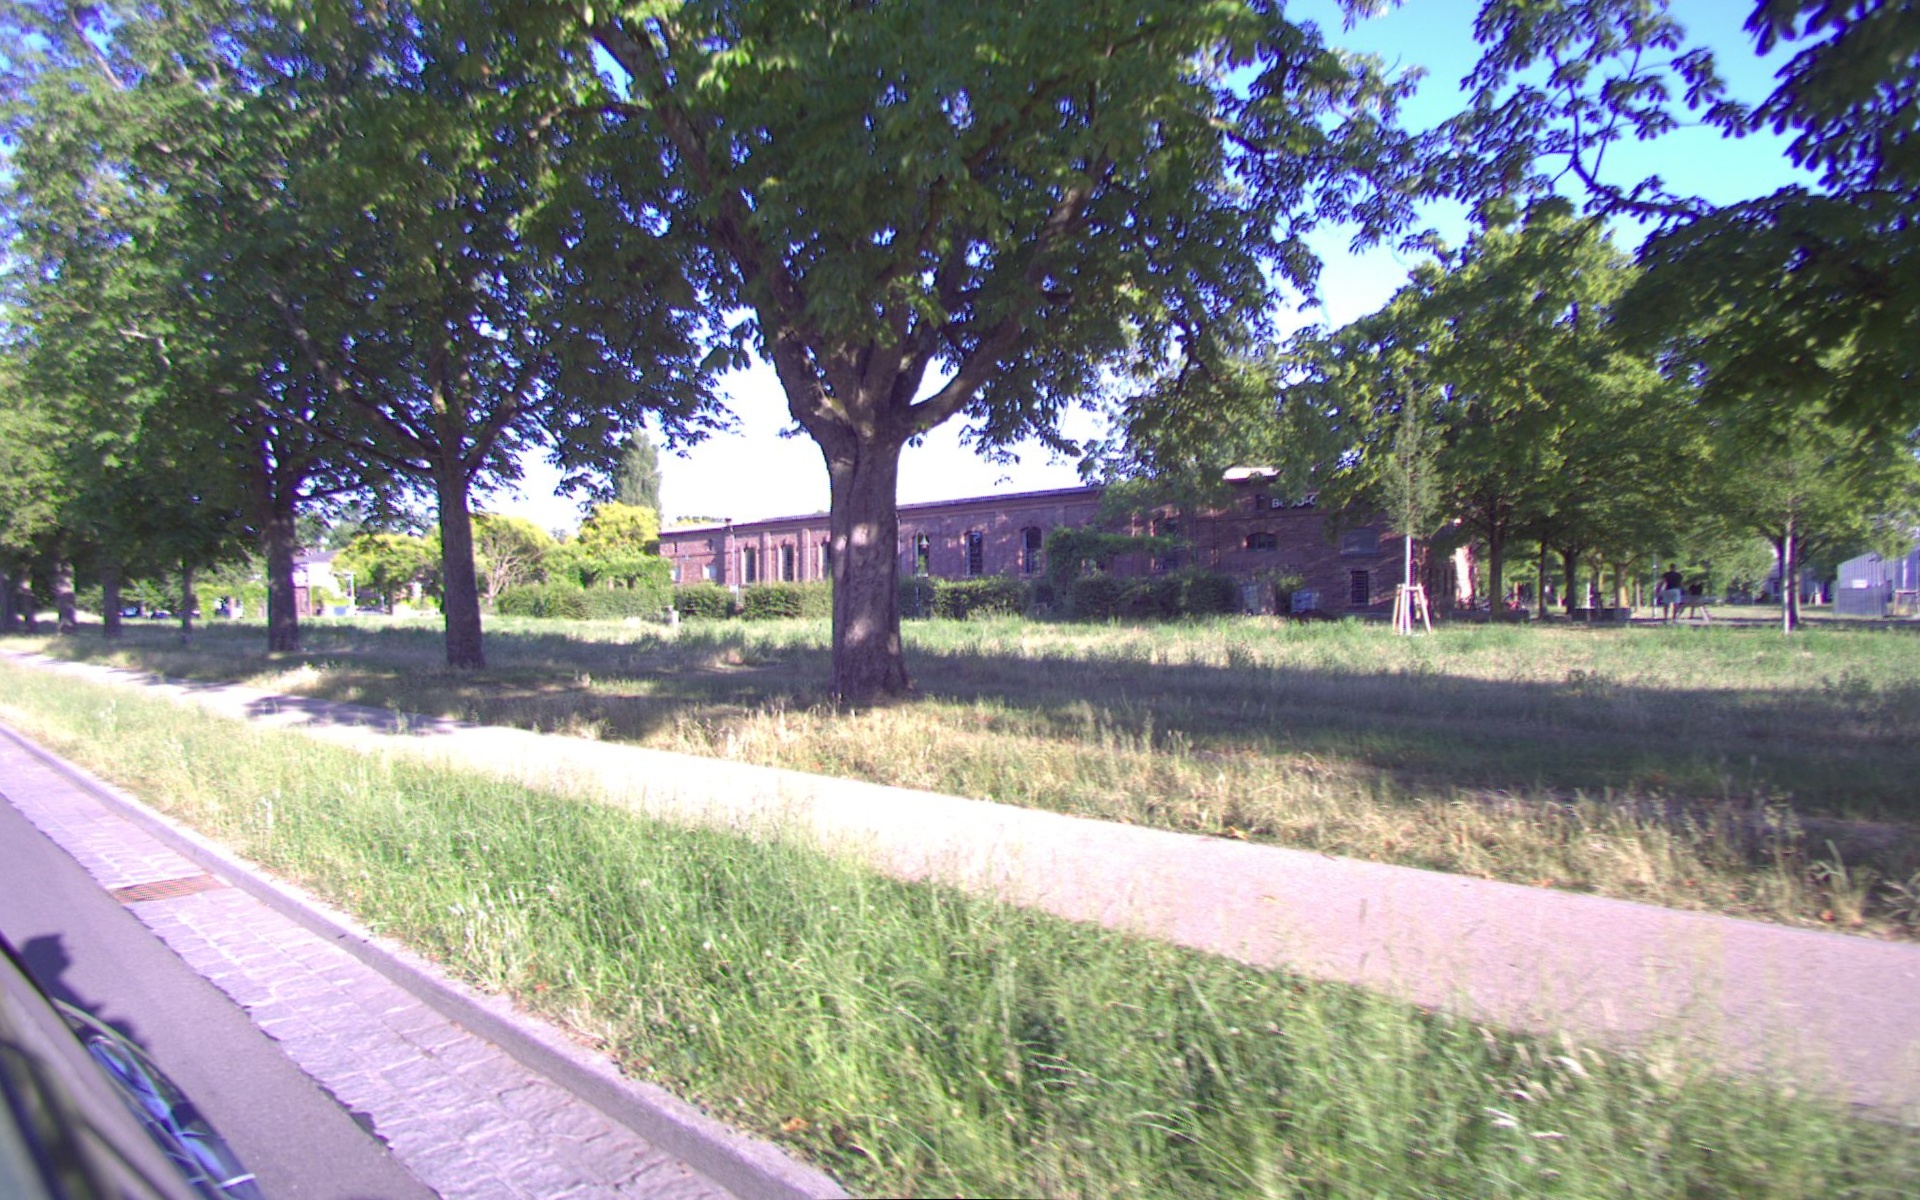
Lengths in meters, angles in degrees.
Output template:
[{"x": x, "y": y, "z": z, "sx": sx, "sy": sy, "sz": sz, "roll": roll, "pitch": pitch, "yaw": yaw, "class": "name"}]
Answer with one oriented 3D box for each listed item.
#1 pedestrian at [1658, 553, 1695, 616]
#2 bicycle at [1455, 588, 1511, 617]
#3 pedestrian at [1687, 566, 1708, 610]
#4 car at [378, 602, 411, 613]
[{"x": 21.951, "y": -0.473, "z": 30.997, "sx": 0.797, "sy": 1.895, "sz": 1.037, "roll": 0, "pitch": 1, "yaw": 43, "class": "pedestrian"}, {"x": 24.019, "y": 0.132, "z": 46.508, "sx": 2.149, "sy": 1.279, "sz": 0.677, "roll": -1, "pitch": 0, "yaw": 43, "class": "bicycle"}, {"x": 25.096, "y": -0.401, "z": 34.450, "sx": 0.499, "sy": 1.489, "sz": 0.583, "roll": -1, "pitch": 1, "yaw": 31, "class": "pedestrian"}, {"x": -77.234, "y": 1.013, "z": 138.153, "sx": 1.586, "sy": 1.289, "sz": 3.589, "roll": 0, "pitch": 2, "yaw": 42, "class": "car"}]
